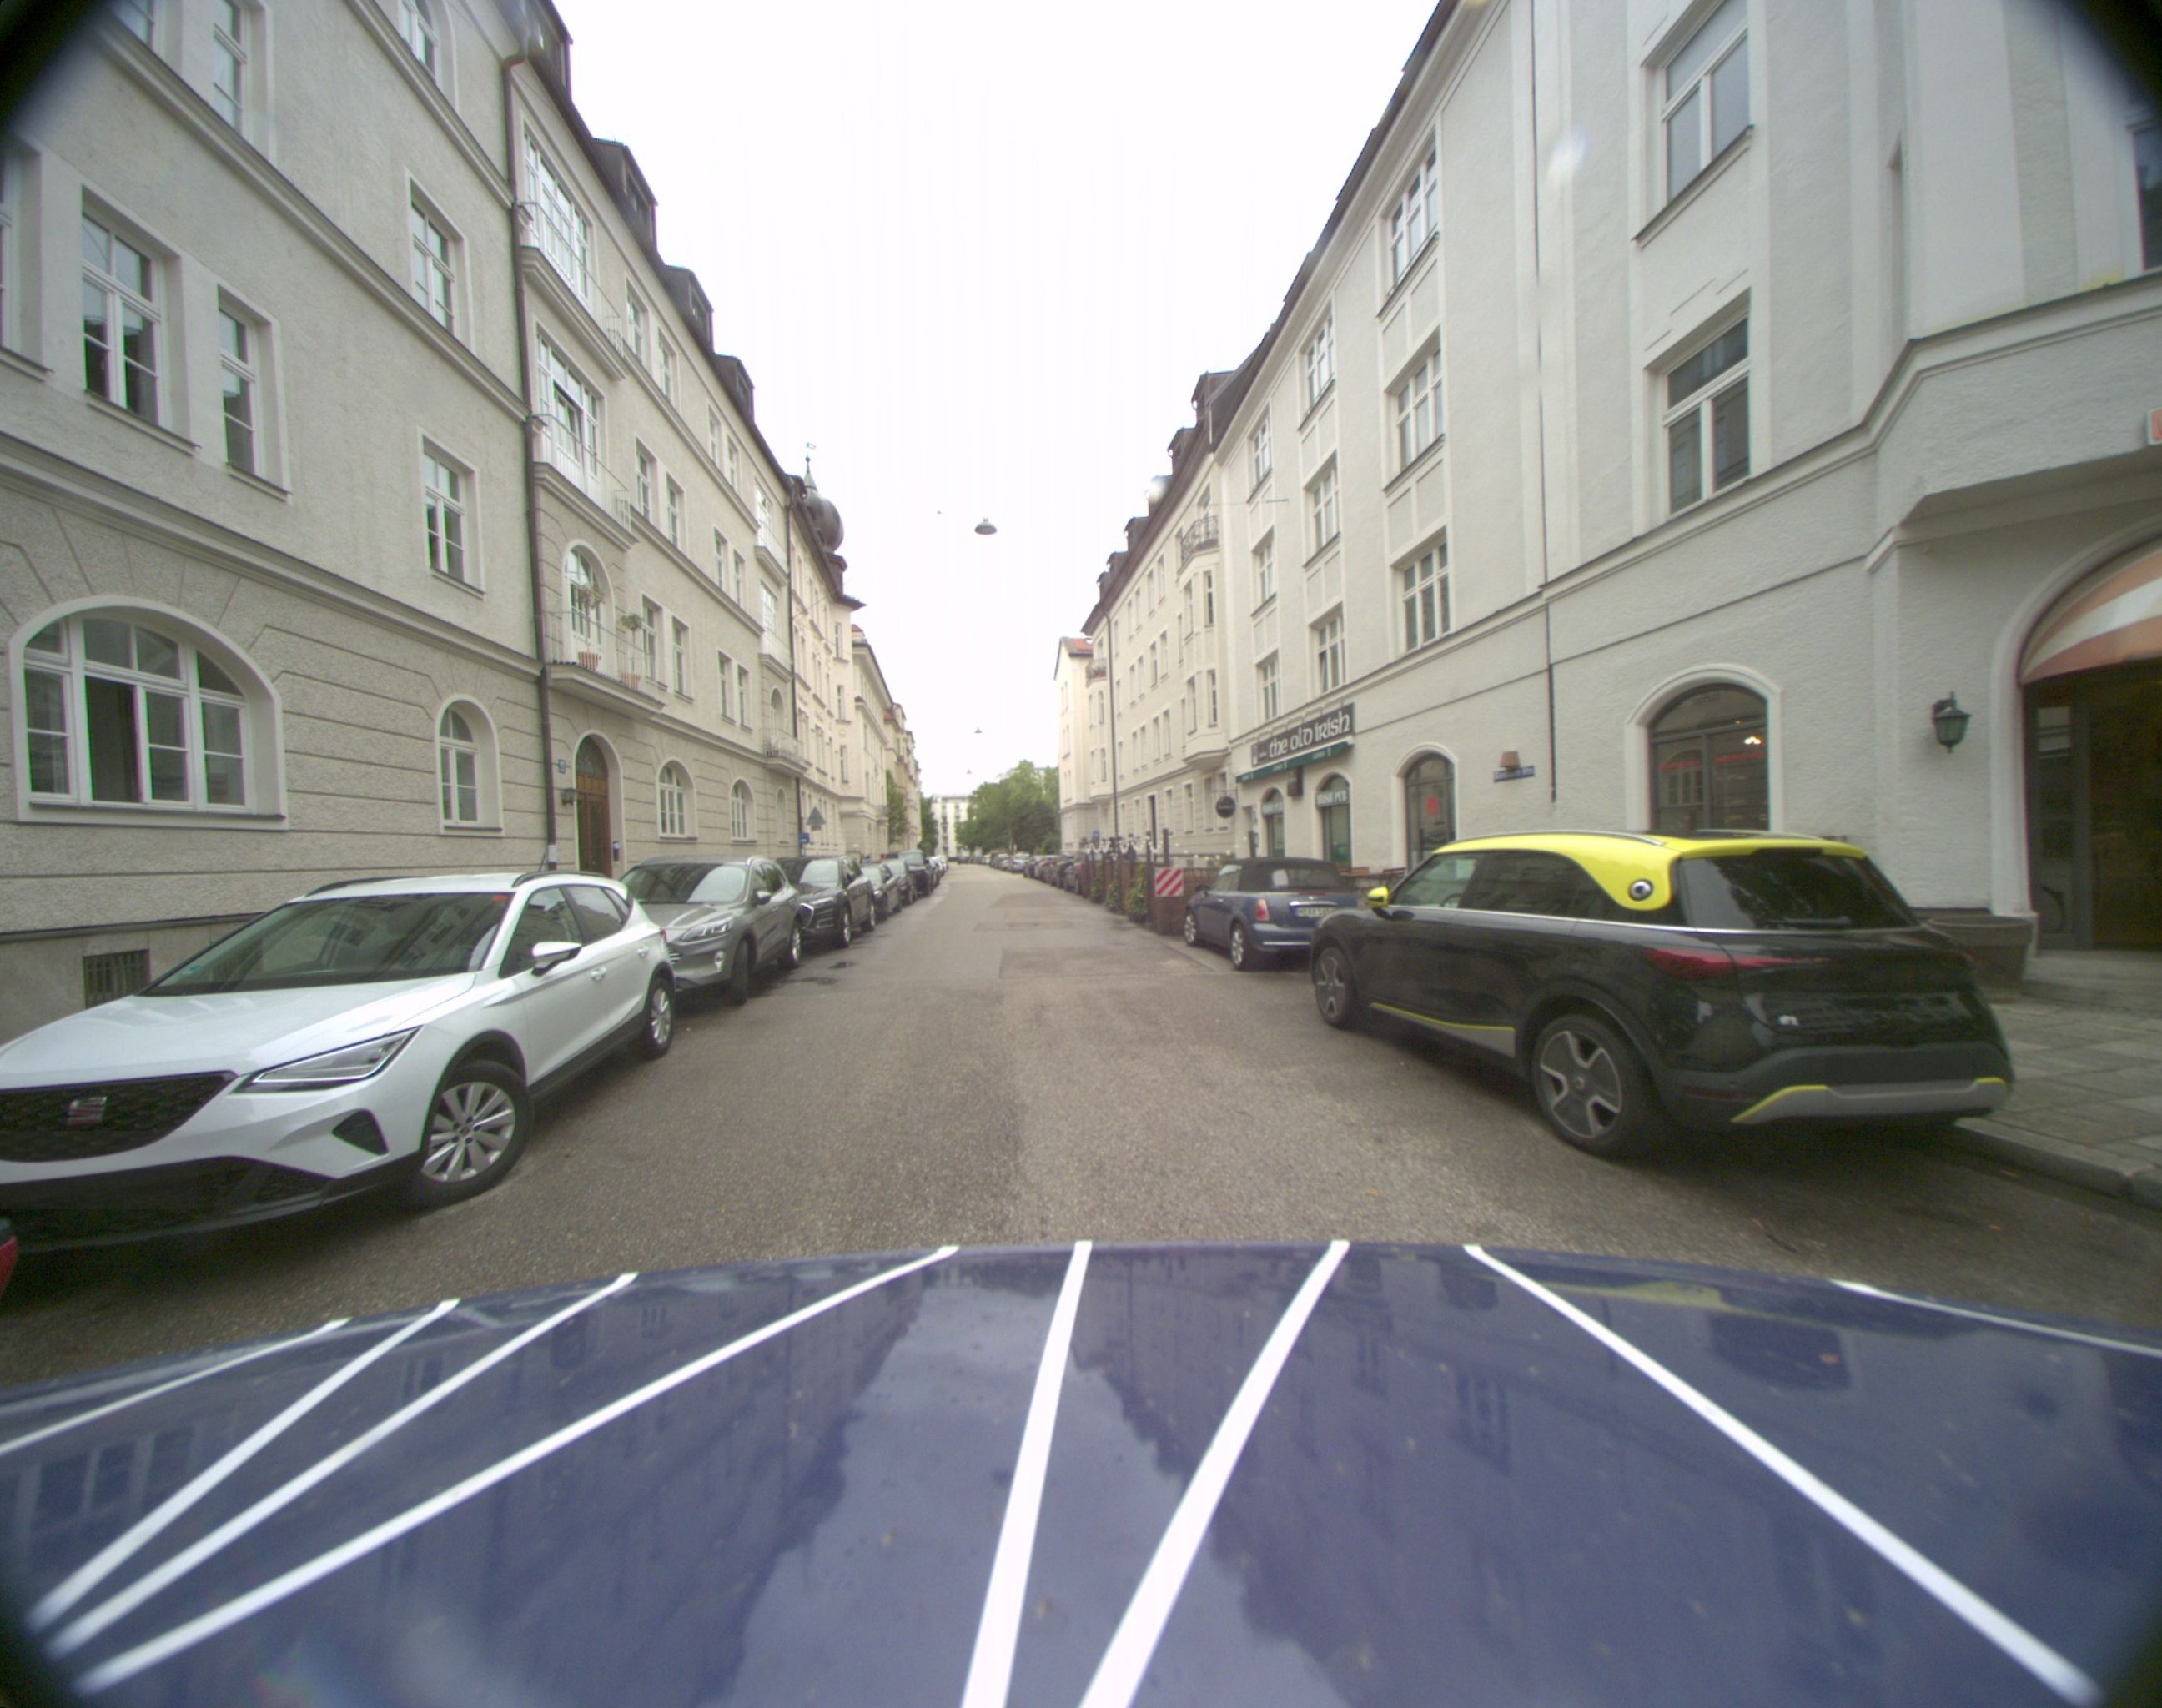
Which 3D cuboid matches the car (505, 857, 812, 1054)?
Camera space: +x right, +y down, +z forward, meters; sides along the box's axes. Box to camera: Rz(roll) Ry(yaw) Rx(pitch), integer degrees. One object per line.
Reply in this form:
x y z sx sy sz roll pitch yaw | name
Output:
-4.679 0.941 9.266 1.795 1.703 4.422 -2 1 -9 | car

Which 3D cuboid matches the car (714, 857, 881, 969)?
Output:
-5.065 0.939 14.250 1.782 1.626 4.372 -4 1 -6 | car

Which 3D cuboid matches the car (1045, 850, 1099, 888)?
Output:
-0.460 0.620 33.602 1.747 1.478 4.177 -2 1 -9 | car

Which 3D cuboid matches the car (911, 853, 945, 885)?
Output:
-8.576 0.816 42.732 1.713 1.578 3.996 -4 1 -11 | car

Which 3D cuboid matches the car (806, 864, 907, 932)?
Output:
-5.758 1.062 19.963 1.711 1.462 4.198 -2 0 -5 | car

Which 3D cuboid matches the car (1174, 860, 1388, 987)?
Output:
2.583 0.818 10.839 1.712 1.382 3.998 -1 1 -5 | car

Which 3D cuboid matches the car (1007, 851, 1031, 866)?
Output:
-5.669 0.397 69.199 1.650 1.395 3.996 0 0 -11 | car

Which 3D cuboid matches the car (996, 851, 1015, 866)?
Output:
-9.088 0.541 90.873 1.812 1.639 4.481 -4 1 -10 | car

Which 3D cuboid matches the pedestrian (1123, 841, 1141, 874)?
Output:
2.643 0.169 39.501 0.664 1.697 0.701 -2 1 24 | pedestrian

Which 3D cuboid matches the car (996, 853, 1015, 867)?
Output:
-8.499 0.668 85.295 1.774 1.412 3.995 -2 1 -12 | car

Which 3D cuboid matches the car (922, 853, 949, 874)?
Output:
-12.119 0.809 63.636 1.901 1.626 4.388 -2 0 -8 | car

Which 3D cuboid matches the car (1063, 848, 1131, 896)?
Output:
0.528 0.633 28.714 1.752 1.663 4.271 1 0 -10 | car

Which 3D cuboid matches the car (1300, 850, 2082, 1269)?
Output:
3.051 0.788 4.997 1.682 1.588 3.942 0 1 -7 | car

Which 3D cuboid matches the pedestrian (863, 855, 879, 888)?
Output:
-10.534 0.880 38.135 0.682 1.664 0.653 0 1 -11 | pedestrian

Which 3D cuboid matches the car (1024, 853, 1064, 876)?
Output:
-2.438 0.654 49.197 1.856 1.359 4.697 -3 1 -11 | car

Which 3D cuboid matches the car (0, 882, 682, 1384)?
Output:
-3.955 1.030 4.476 1.756 1.487 3.905 -3 1 -12 | car

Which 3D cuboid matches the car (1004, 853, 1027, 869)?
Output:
-6.351 0.639 73.409 1.803 1.426 4.076 -3 1 -9 | car

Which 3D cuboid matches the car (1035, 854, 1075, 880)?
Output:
-1.552 0.711 44.011 1.800 1.411 4.506 0 1 -9 | car

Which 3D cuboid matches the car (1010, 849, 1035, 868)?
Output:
-4.848 0.374 62.579 1.702 1.571 4.058 0 0 -9 | car

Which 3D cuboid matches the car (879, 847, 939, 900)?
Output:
-6.962 0.733 31.197 1.917 1.874 4.710 -5 1 -9 | car

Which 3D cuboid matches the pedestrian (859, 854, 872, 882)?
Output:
-13.019 0.863 45.973 0.684 1.669 0.811 0 0 -10 | pedestrian

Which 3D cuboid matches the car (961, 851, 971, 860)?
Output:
-21.953 0.314 145.194 1.730 1.525 4.080 -2 2 -11 | car

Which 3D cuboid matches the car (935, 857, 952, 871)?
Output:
-15.251 1.108 84.281 1.668 1.499 4.060 -3 0 -11 | car

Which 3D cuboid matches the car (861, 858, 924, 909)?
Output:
-6.354 0.943 25.975 1.660 1.516 3.634 -3 0 -8 | car

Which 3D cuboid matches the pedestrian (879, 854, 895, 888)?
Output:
-9.913 0.854 38.805 0.705 1.718 0.702 -1 1 -11 | pedestrian

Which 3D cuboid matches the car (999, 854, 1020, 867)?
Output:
-7.704 0.728 81.554 1.741 1.357 4.188 -1 0 -12 | car

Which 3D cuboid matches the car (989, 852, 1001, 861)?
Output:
-13.972 0.436 123.107 1.706 1.483 3.952 -1 0 -11 | car
